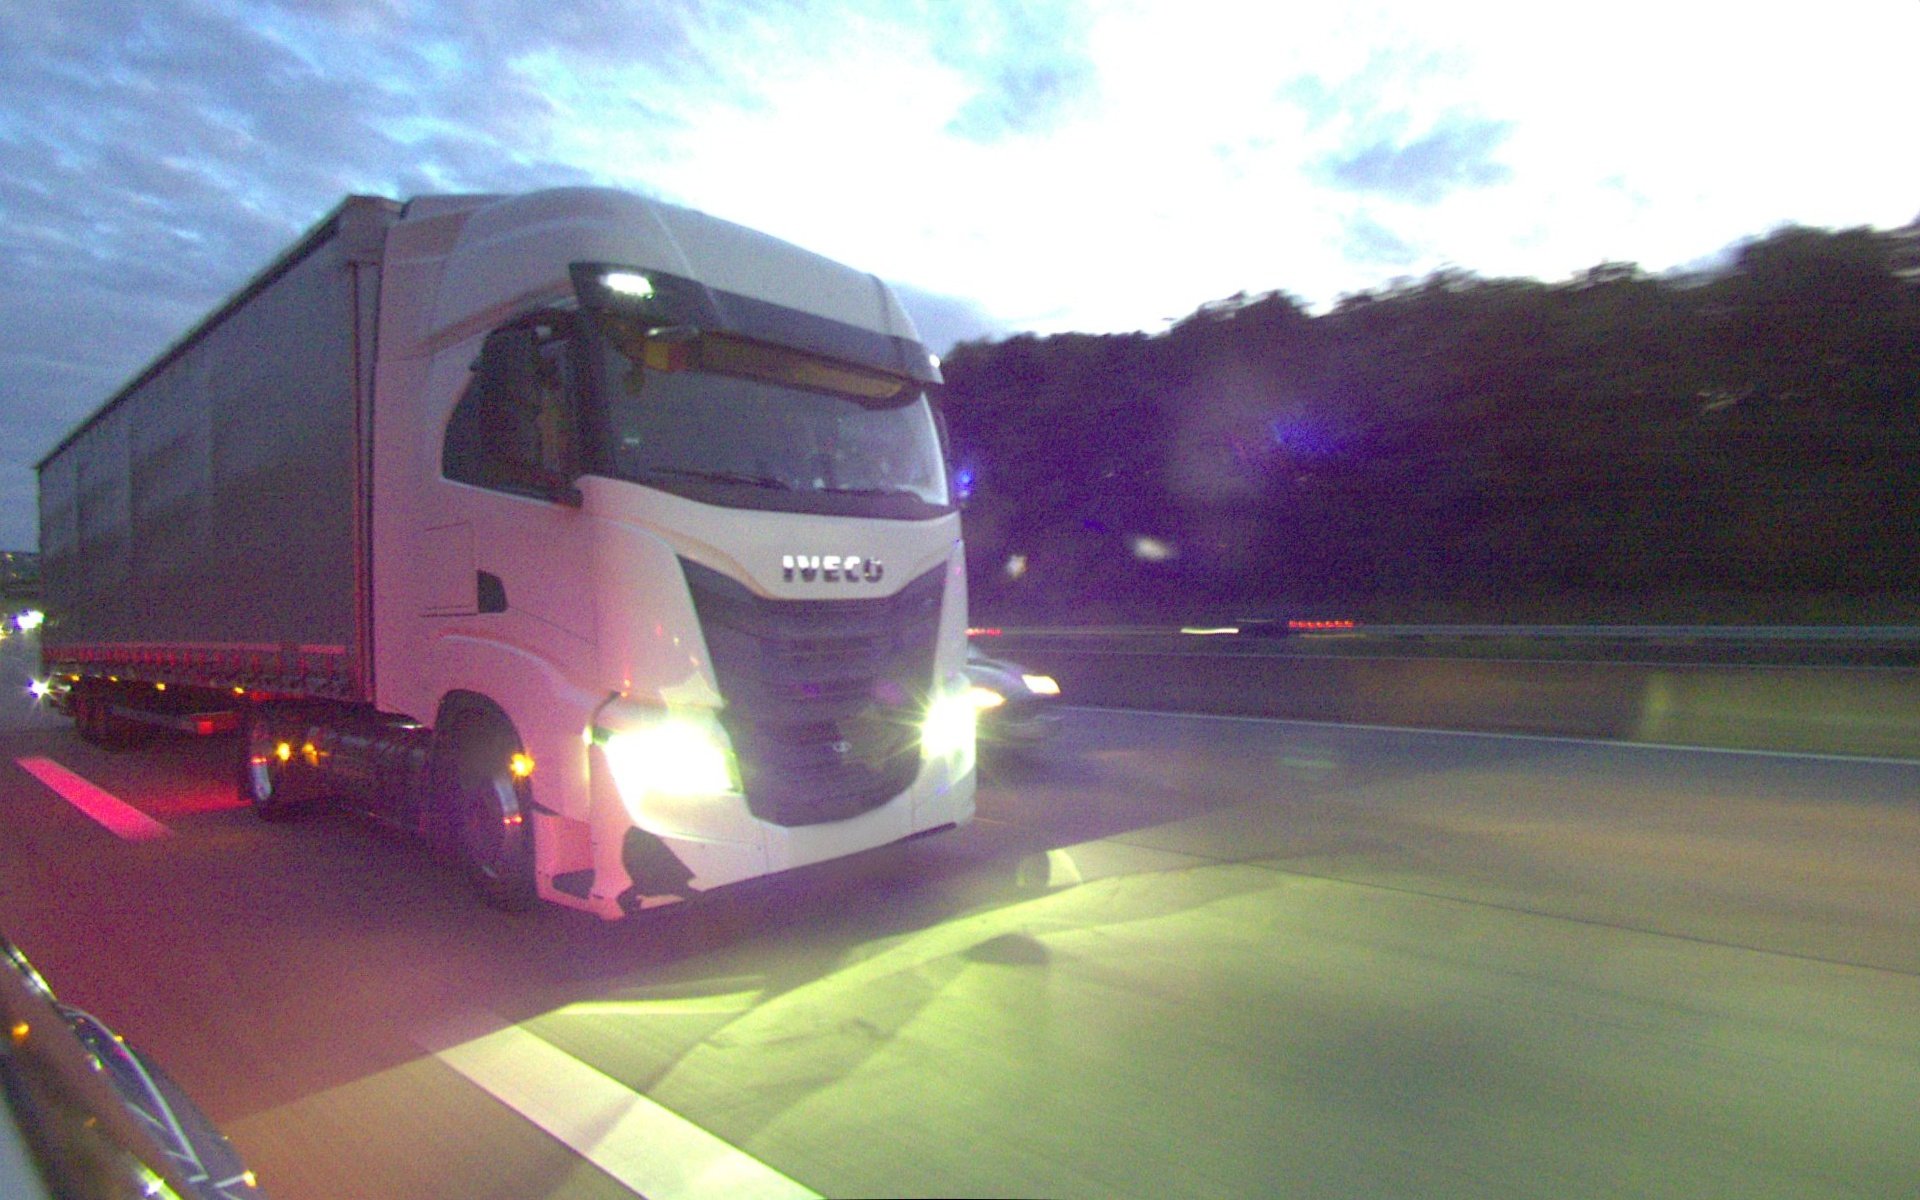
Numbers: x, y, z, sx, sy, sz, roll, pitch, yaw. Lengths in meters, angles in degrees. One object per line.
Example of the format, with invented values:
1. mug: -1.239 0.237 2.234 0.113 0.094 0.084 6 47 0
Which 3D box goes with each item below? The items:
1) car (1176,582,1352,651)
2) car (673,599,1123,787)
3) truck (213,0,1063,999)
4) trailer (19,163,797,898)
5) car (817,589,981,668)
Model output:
1. car: 9.652 0.552 32.403 5.008 2.029 1.973 -2 -1 41
2. car: -0.806 0.805 10.436 4.546 1.510 1.973 -2 -1 41
3. truck: -2.629 -0.384 6.935 6.151 3.931 2.750 -2 -1 41
4. trailer: -7.682 -0.217 11.356 14.811 3.945 2.745 -2 -1 41
5. car: -1.765 0.783 28.212 4.488 2.029 1.972 -2 -1 43
